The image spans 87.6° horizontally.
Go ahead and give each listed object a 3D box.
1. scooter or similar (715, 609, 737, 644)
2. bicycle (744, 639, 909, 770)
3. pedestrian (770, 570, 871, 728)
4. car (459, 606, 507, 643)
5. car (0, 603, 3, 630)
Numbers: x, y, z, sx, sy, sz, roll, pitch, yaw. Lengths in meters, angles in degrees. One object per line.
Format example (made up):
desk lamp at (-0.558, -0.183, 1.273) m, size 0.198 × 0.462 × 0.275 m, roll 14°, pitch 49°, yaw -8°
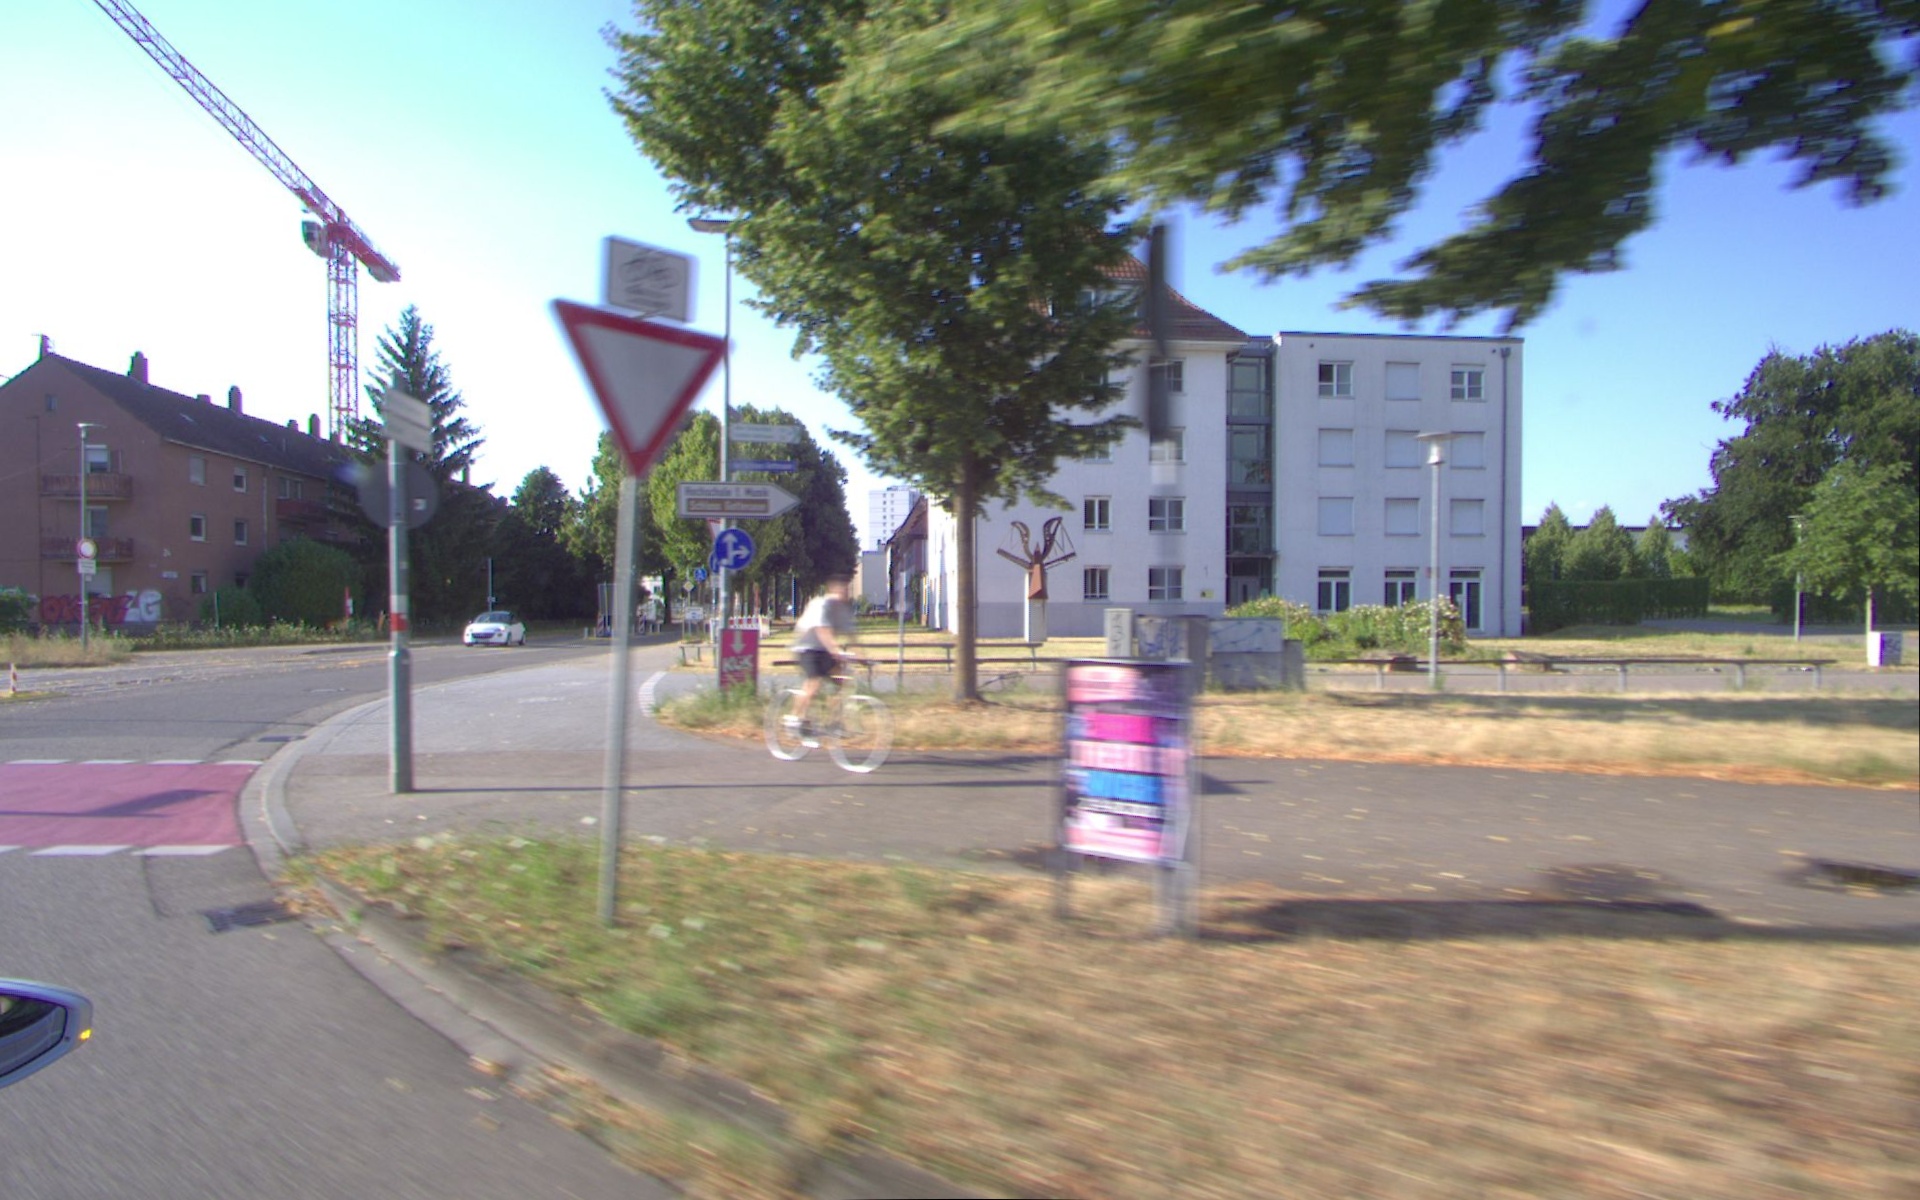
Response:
scooter or similar at (-9.422, 1.057, 40.348) m, size 0.550 × 1.309 × 1.462 m, roll 4°, pitch 0°, yaw -5°
bicycle at (-1.296, 0.927, 9.413) m, size 0.529 × 1.069 × 1.894 m, roll 0°, pitch 0°, yaw -44°
pedestrian at (-1.326, 0.440, 9.484) m, size 0.645 × 1.410 × 0.762 m, roll -2°, pitch 1°, yaw -36°
car at (-20.158, 1.009, 42.309) m, size 1.737 × 1.440 × 3.609 m, roll 2°, pitch 0°, yaw -26°
car at (-55.840, 0.921, 55.387) m, size 3.952 × 1.550 × 1.985 m, roll 0°, pitch 0°, yaw -38°
